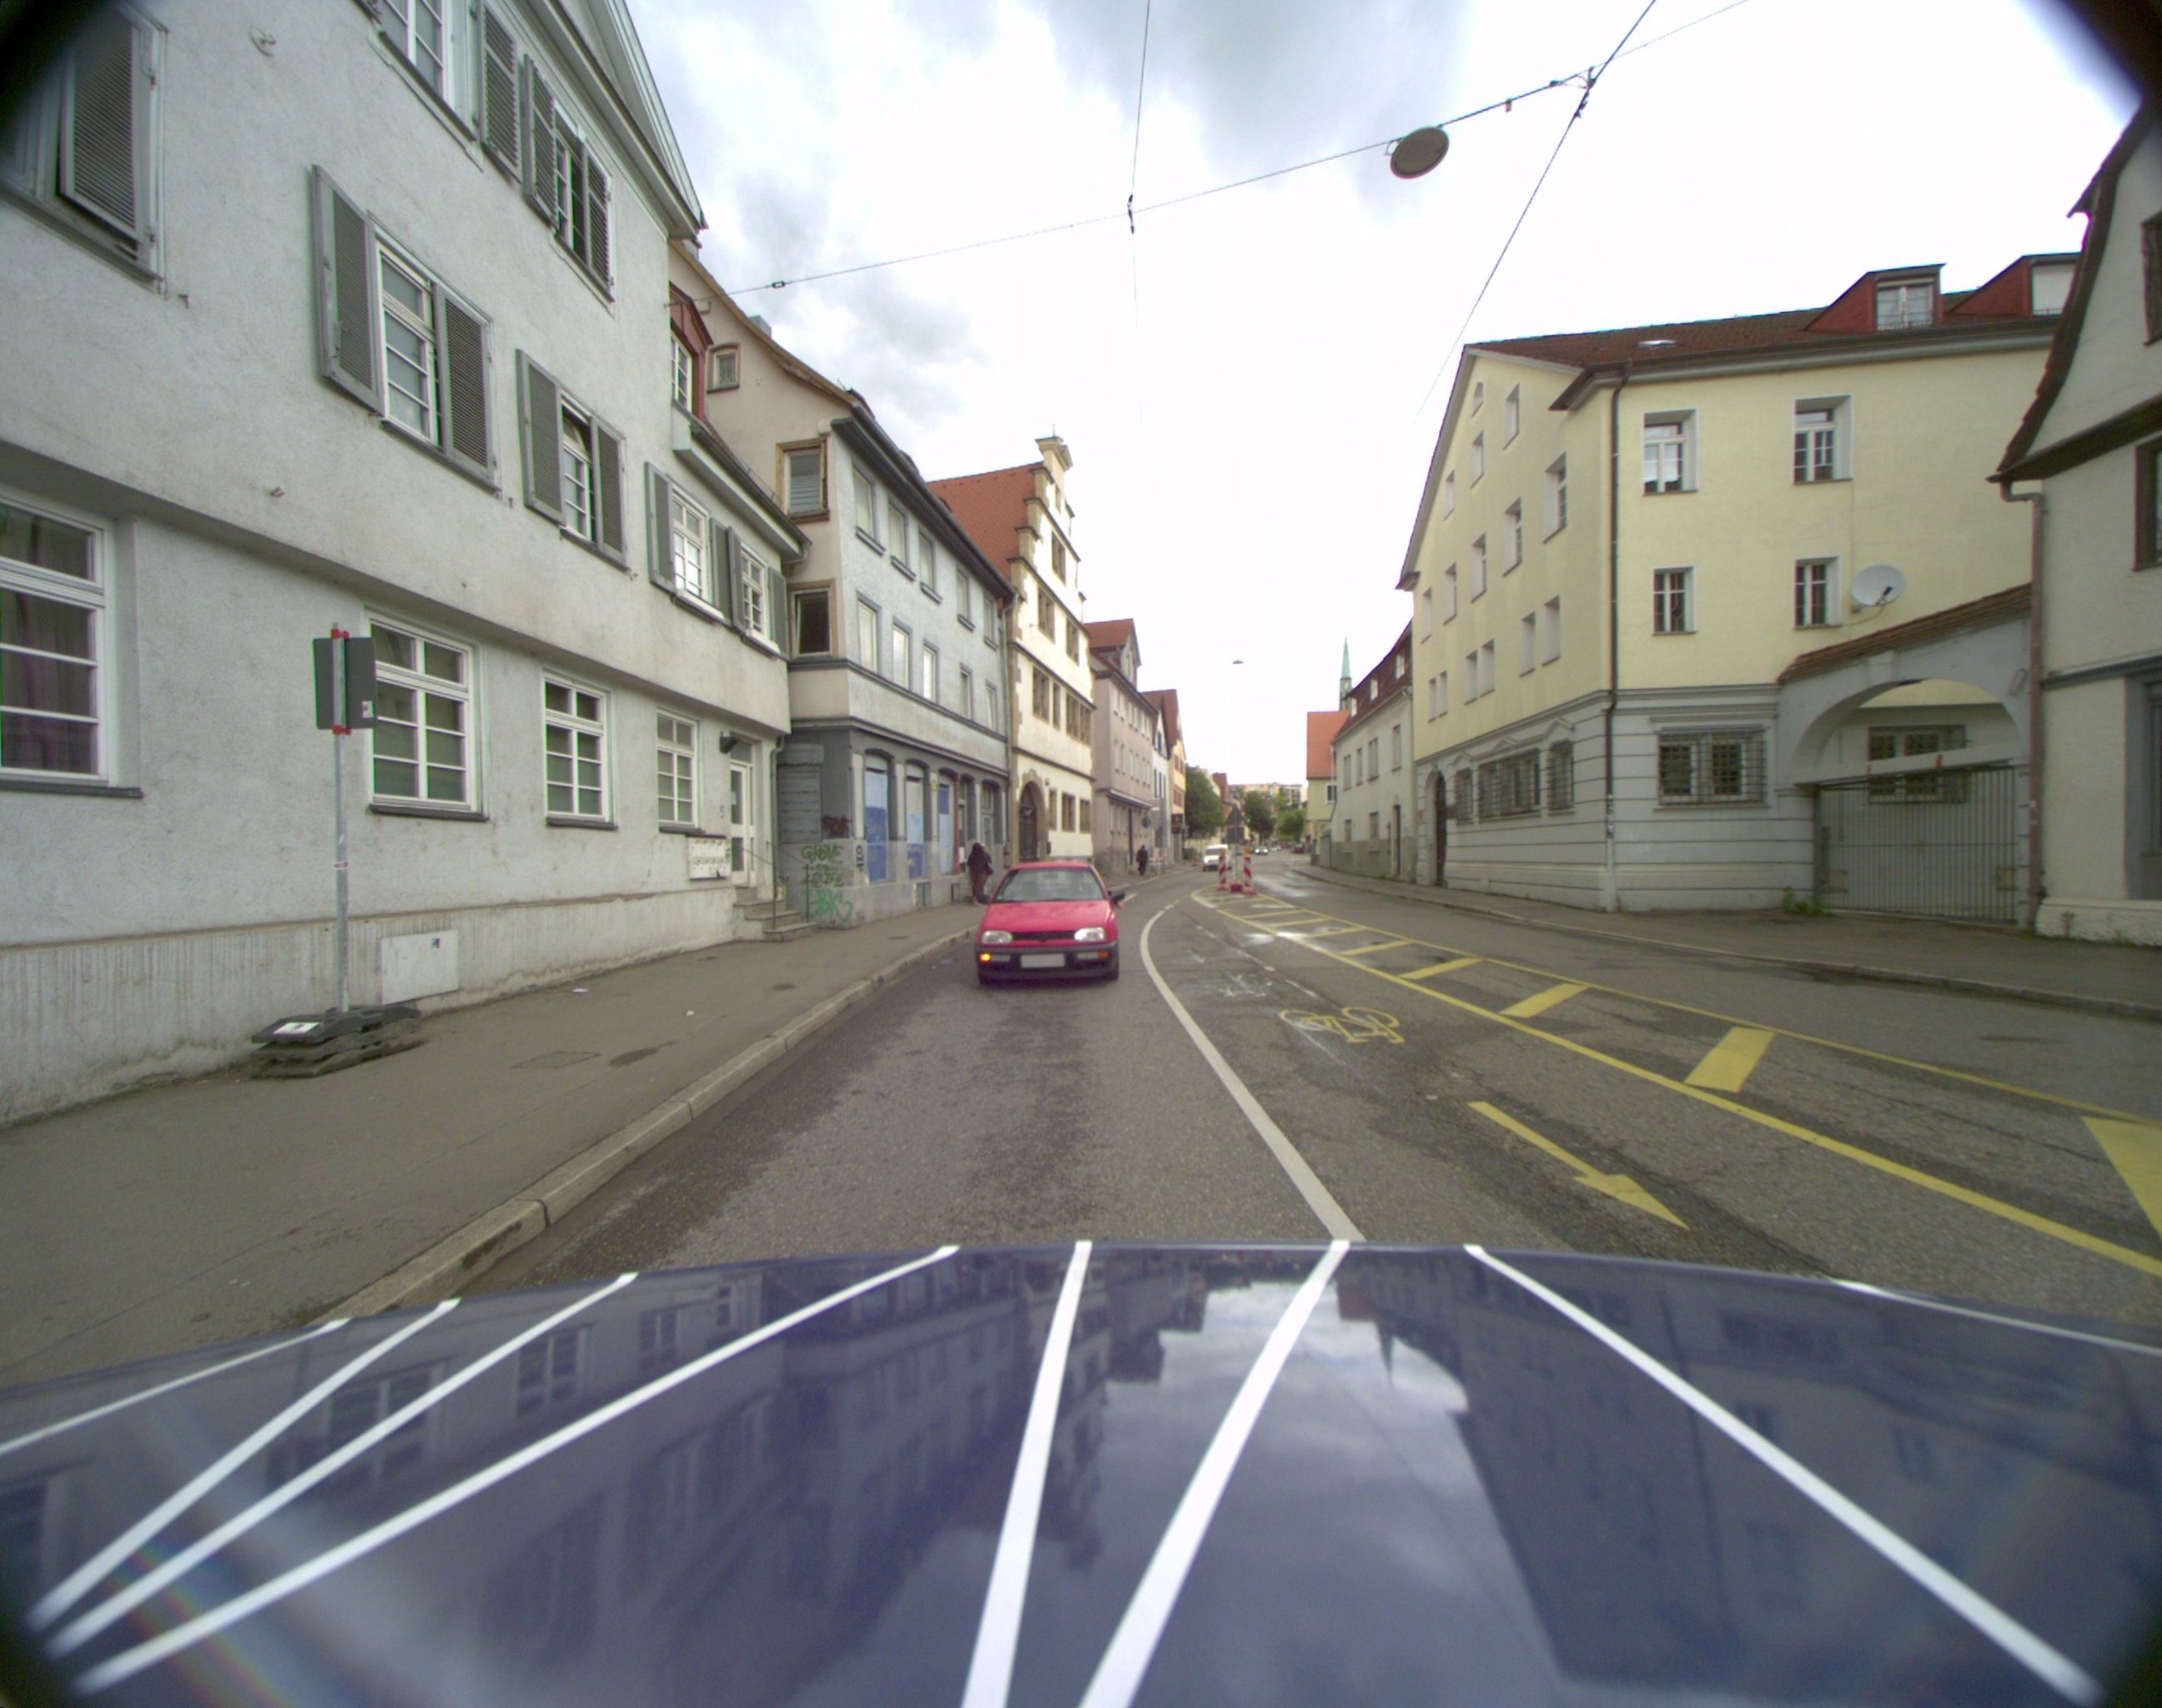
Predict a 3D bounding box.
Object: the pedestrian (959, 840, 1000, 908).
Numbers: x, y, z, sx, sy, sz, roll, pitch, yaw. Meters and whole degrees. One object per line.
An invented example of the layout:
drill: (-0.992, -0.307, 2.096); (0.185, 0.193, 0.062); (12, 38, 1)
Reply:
pedestrian: (-2.567, 0.505, 19.256); (0.756, 1.658, 0.810); (2, 1, 10)

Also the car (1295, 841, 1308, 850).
car: (42.587, -1.643, 146.799); (2.210, 1.668, 4.502); (0, 1, 14)

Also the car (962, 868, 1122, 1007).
car: (-0.327, 0.926, 10.071); (1.685, 1.418, 4.022); (-1, 0, 3)

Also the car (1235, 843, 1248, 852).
car: (28.259, -1.091, 133.615); (2.031, 1.546, 4.004); (0, 1, 14)

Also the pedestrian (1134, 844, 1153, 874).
pedestrian: (3.393, 0.276, 41.357); (0.833, 1.646, 0.945); (-1, 0, 15)

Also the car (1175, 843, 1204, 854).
car: (16.244, -0.851, 113.618); (3.992, 1.455, 2.002); (-1, 1, 17)

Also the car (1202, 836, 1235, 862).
car: (9.629, -0.384, 53.000); (1.996, 1.777, 4.471); (0, 2, 14)

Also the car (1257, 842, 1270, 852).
car: (30.754, -1.187, 128.127); (1.996, 1.669, 4.004); (-1, 1, 15)

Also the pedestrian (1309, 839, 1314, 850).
pedestrian: (44.882, -1.859, 147.701); (0.835, 2.002, 0.846); (-1, 0, 13)

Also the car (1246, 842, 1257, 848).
car: (34.574, -1.839, 154.218); (1.819, 1.380, 4.005); (0, 1, 17)
